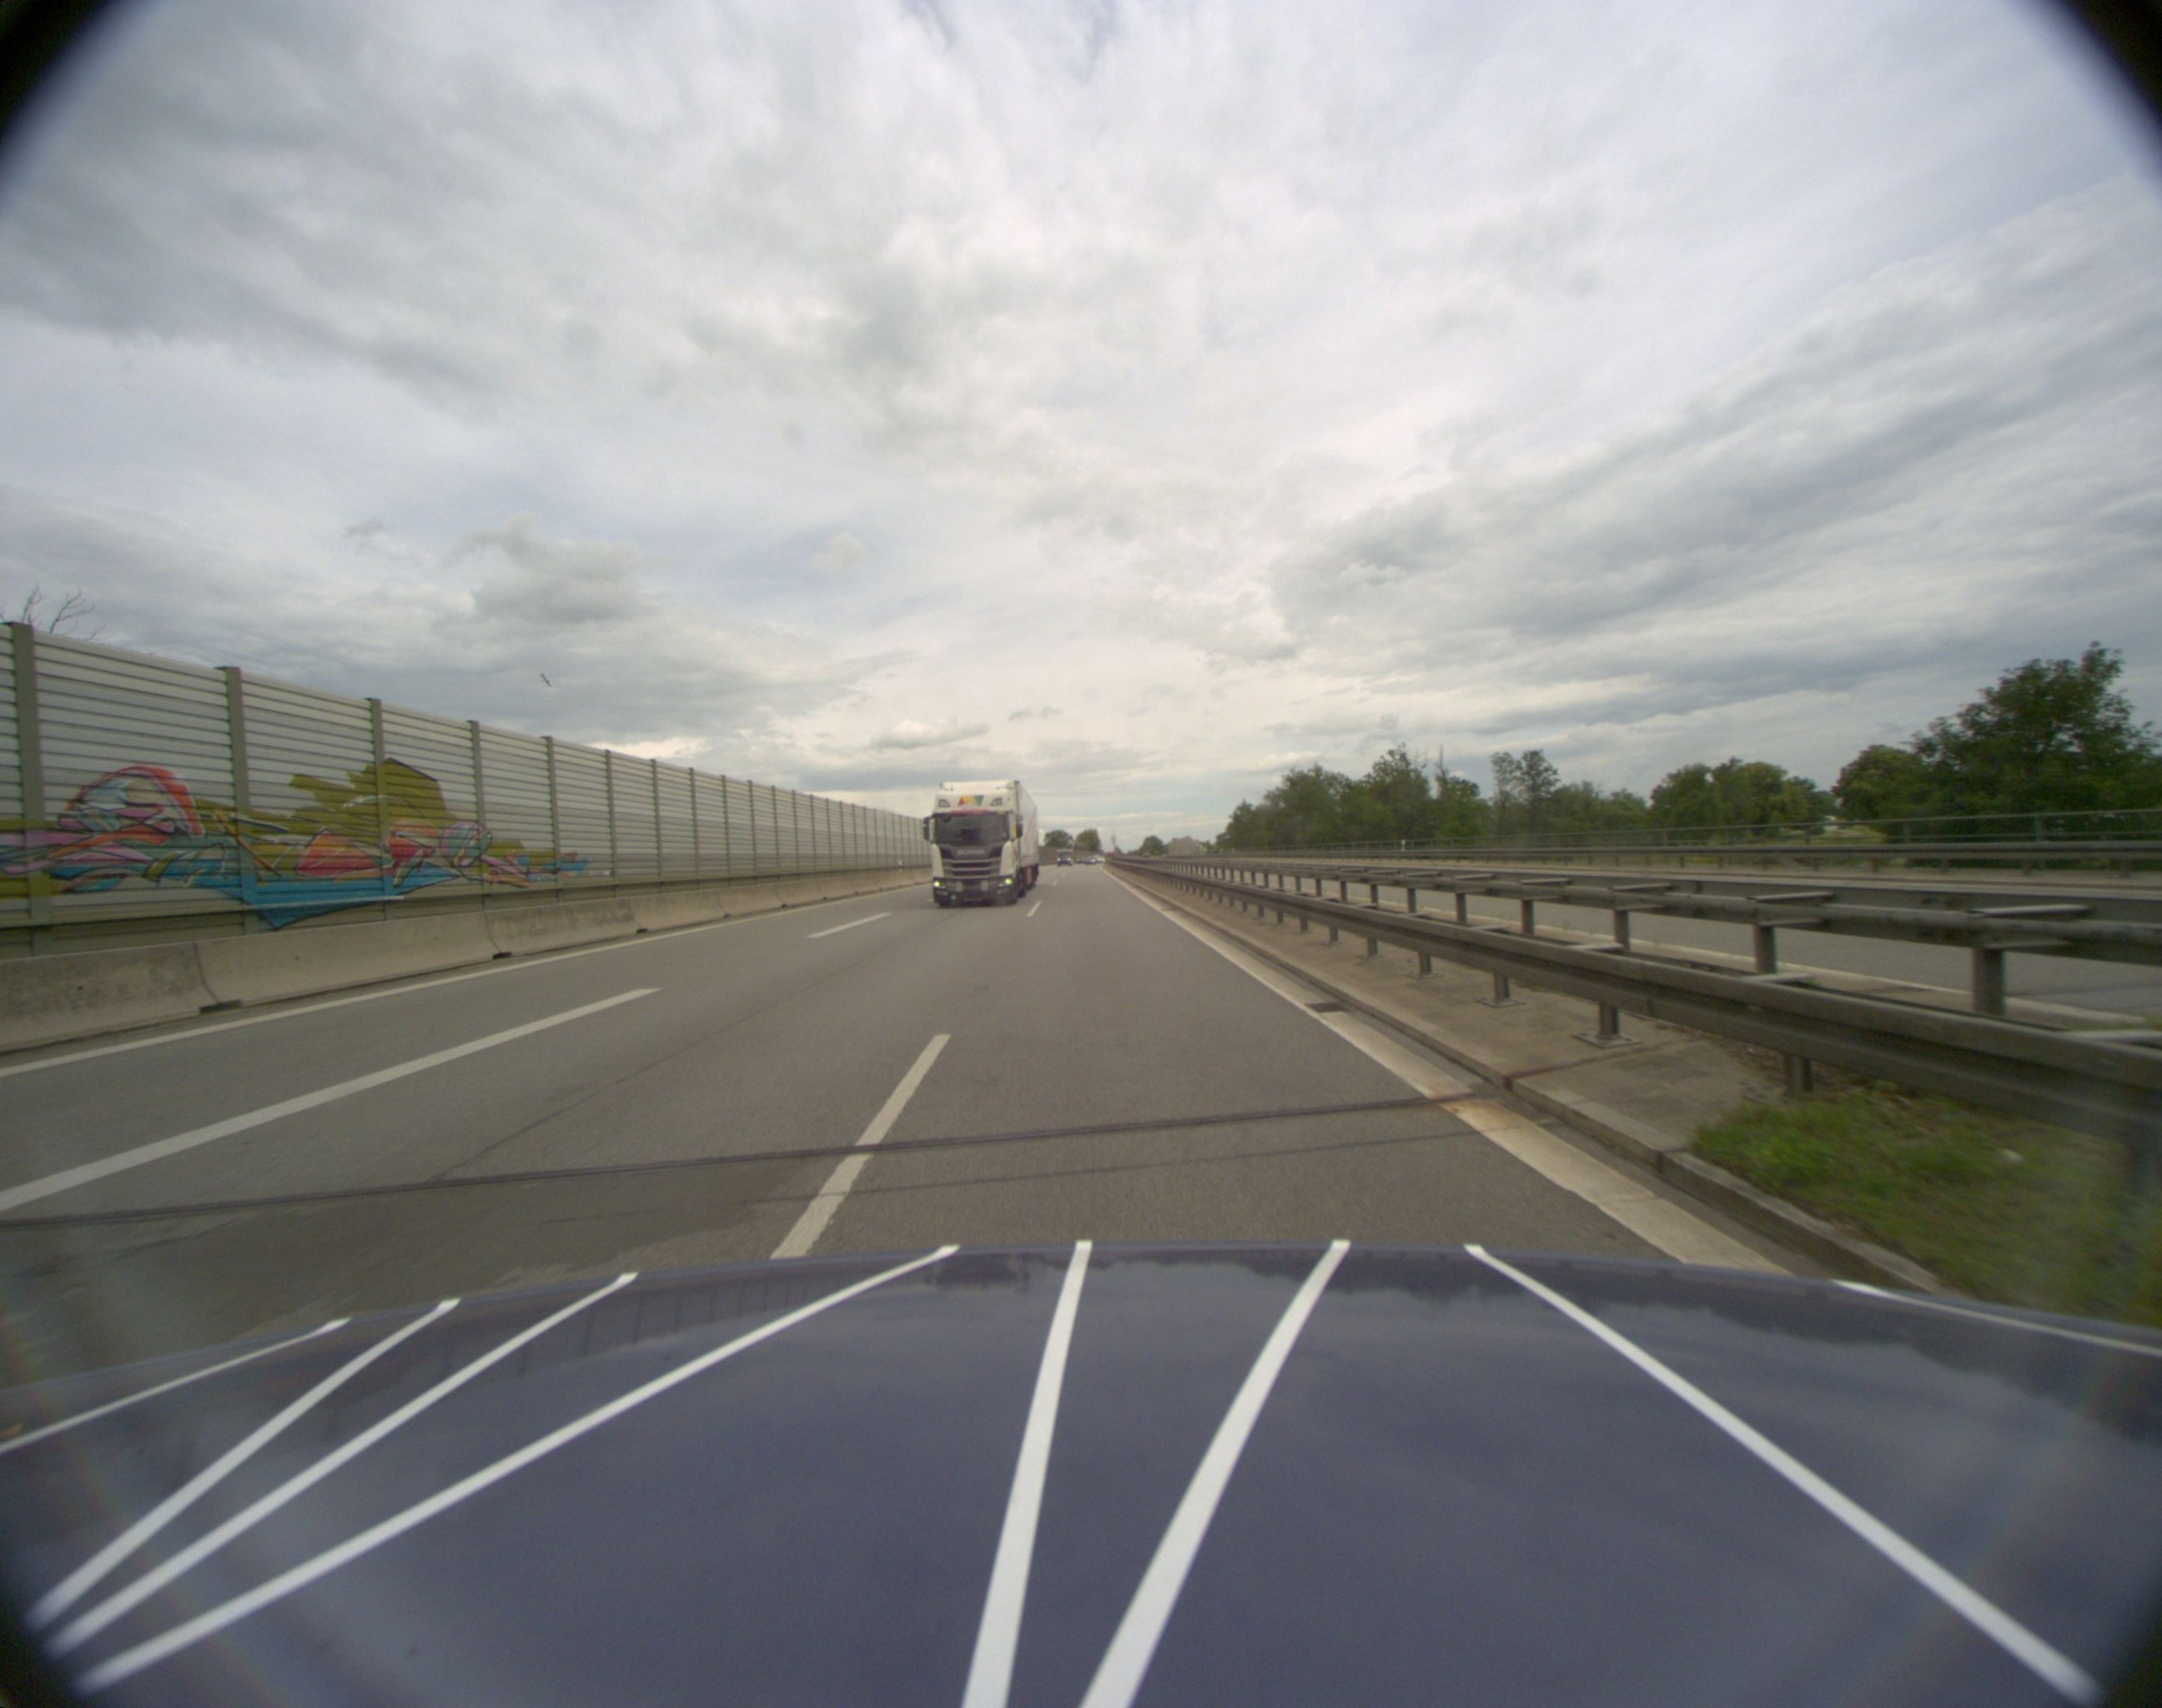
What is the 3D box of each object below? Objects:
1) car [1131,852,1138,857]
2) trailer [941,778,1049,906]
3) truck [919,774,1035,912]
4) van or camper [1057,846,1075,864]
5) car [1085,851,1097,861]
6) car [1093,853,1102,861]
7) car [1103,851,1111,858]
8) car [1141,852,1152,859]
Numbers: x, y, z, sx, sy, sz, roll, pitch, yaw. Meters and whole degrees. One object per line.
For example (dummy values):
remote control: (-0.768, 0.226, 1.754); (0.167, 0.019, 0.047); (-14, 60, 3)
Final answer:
car: (16.577, 0.228, 237.050); (1.845, 1.521, 4.836); (-2, 0, 2)
trailer: (-3.174, -0.470, 32.399); (2.800, 4.150, 14.101); (-2, 1, 0)
truck: (-3.220, -0.306, 25.110); (2.762, 3.936, 5.678); (-2, 0, 2)
van or camper: (-2.317, 0.197, 121.321); (2.435, 2.680, 7.227); (-2, -1, 1)
car: (1.758, 0.389, 133.108); (1.889, 1.608, 4.001); (-2, -1, 1)
car: (3.484, 0.564, 160.450); (1.889, 1.608, 4.002); (-2, -1, 3)
car: (6.624, 0.201, 192.565); (1.889, 1.608, 4.000); (-3, 0, 3)
car: (14.562, 0.292, 168.833); (1.974, 1.395, 4.710); (-2, 0, 2)
